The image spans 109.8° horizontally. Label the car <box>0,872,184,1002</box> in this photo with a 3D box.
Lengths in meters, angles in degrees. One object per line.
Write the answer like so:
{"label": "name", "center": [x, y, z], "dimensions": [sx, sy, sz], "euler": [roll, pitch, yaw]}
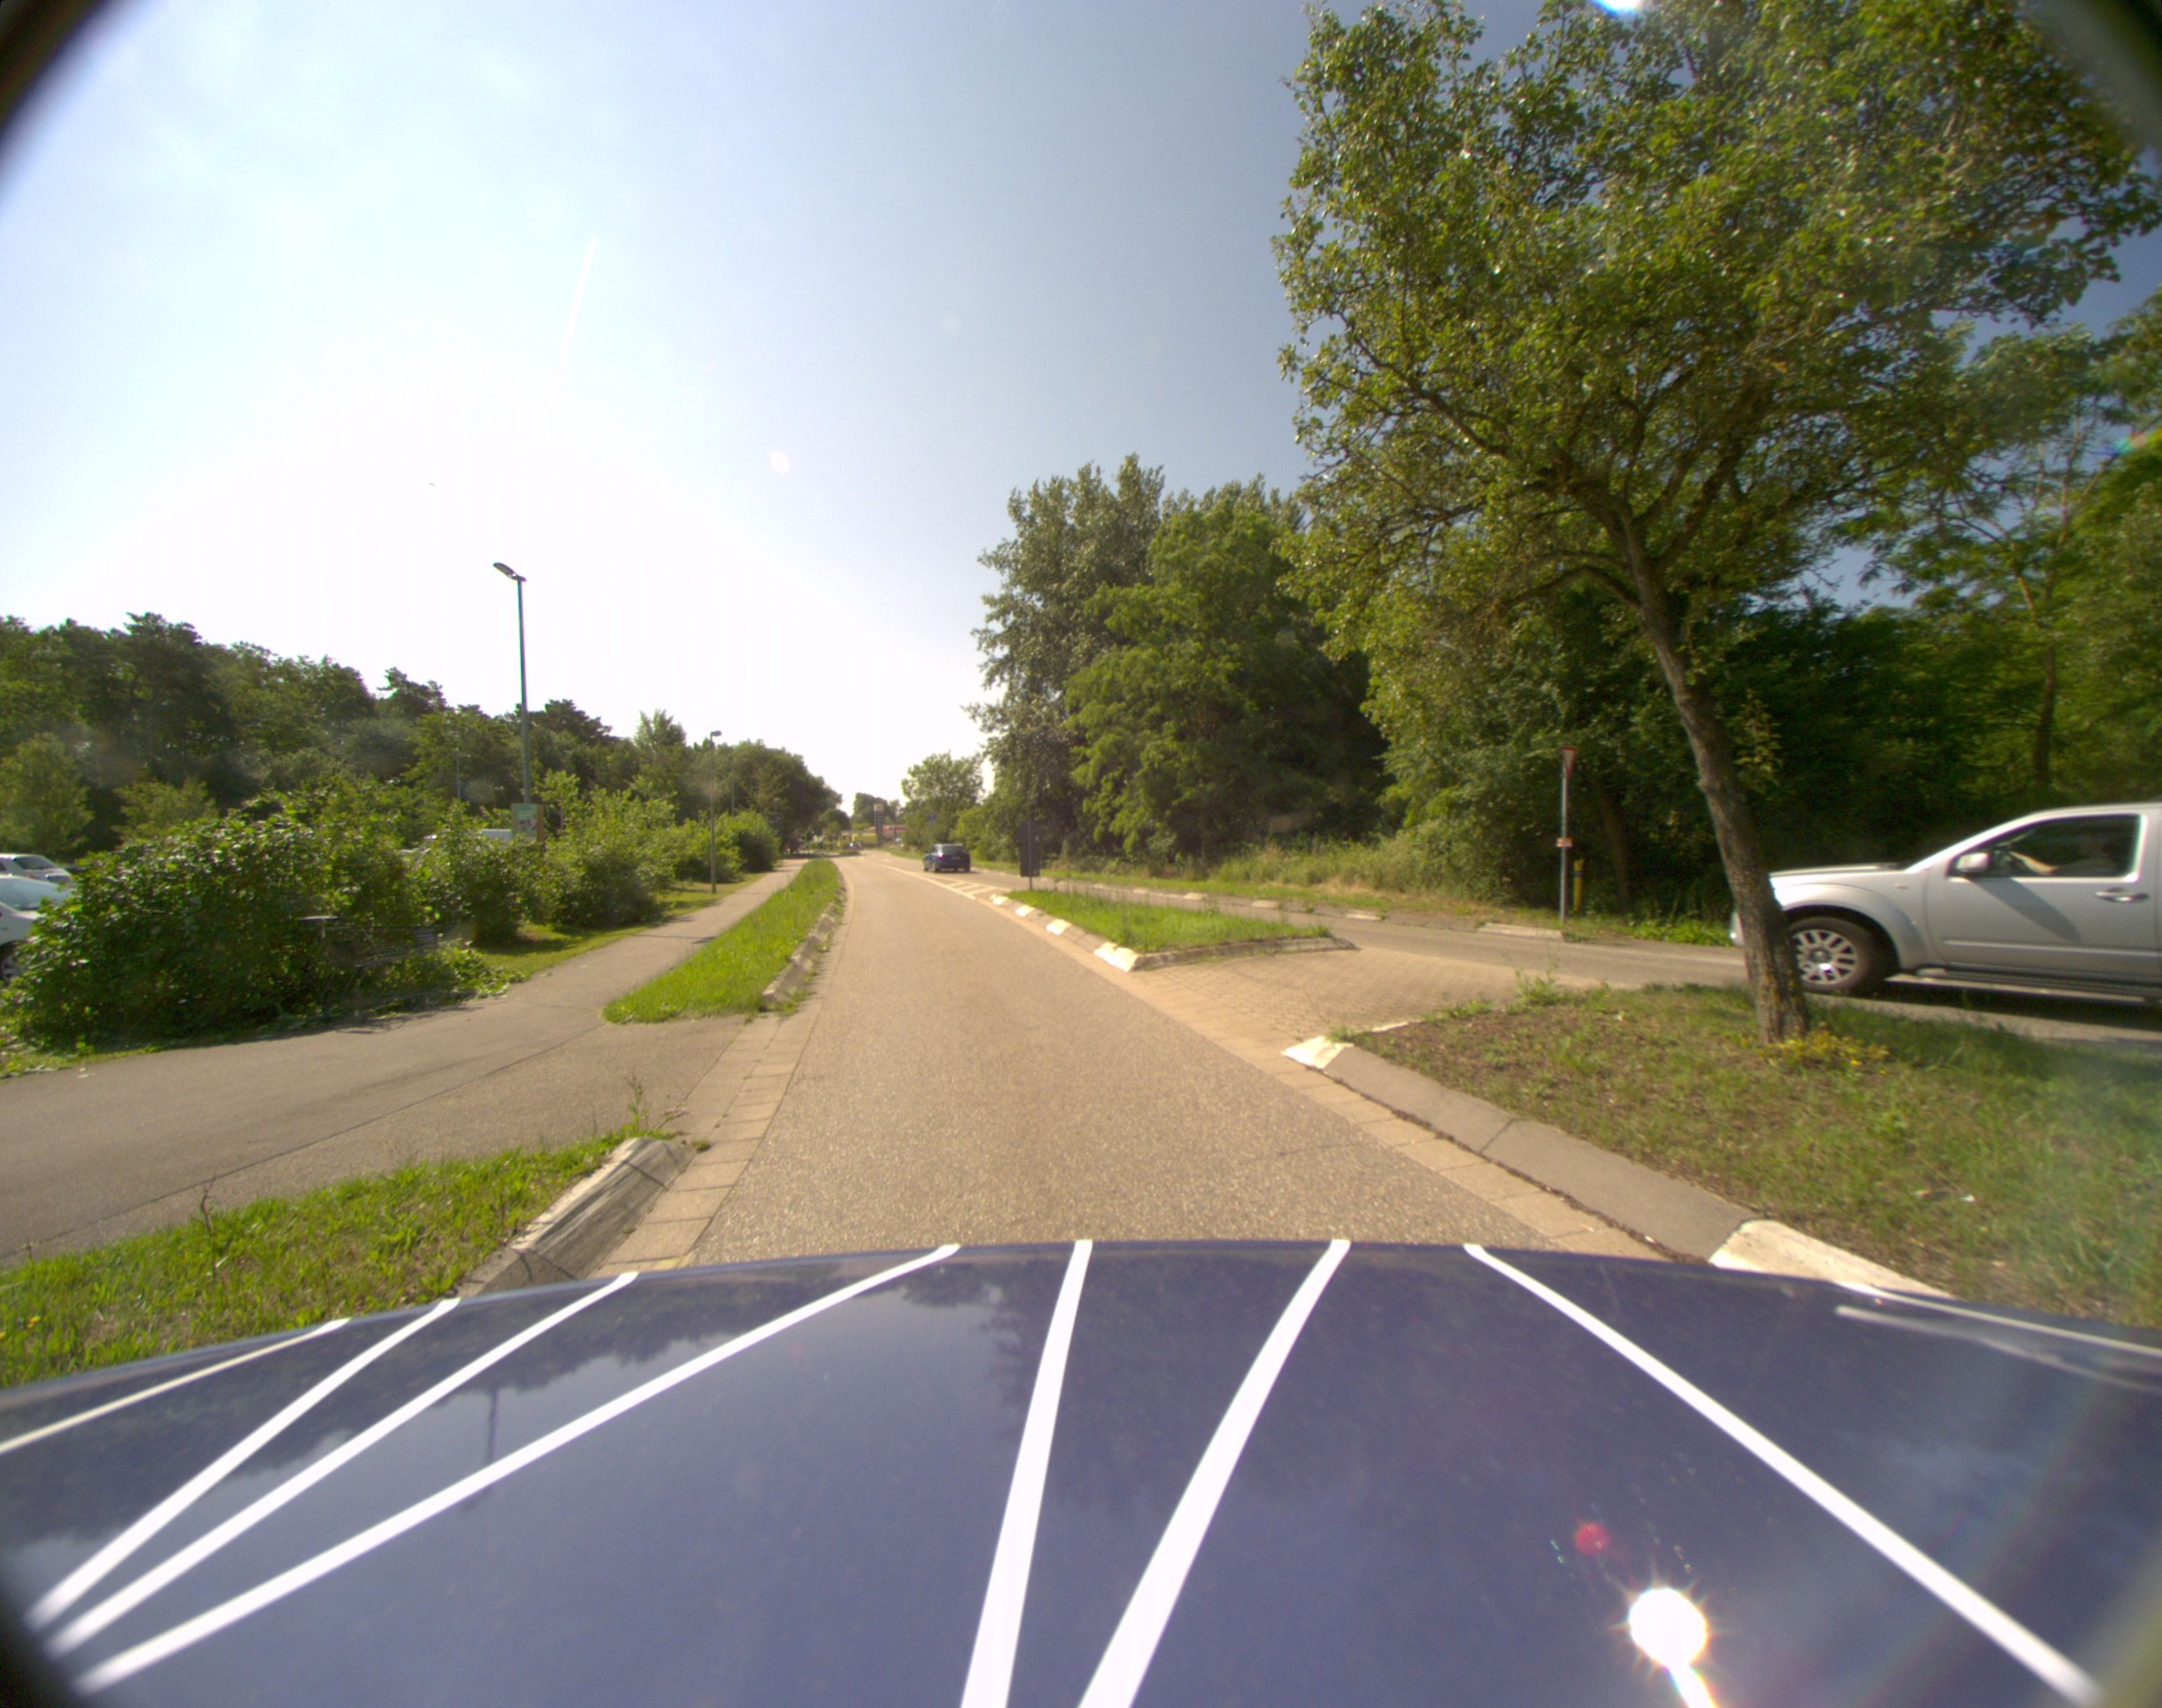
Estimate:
{"label": "car", "center": [-14.963, 1.069, 10.024], "dimensions": [3.608, 1.553, 1.811], "euler": [0, 1, -16]}

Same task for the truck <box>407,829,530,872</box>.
{"label": "truck", "center": [-38.904, -0.274, 48.472], "dimensions": [5.622, 2.590, 2.199], "euler": [-1, 2, -20]}

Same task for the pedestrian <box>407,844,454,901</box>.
{"label": "pedestrian", "center": [-20.809, 0.568, 24.320], "dimensions": [0.822, 1.787, 0.865], "euler": [-1, 2, -17]}

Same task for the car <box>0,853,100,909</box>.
{"label": "car", "center": [-29.834, 0.731, 20.372], "dimensions": [4.004, 1.434, 1.647], "euler": [-1, 2, -20]}

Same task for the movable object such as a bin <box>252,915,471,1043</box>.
{"label": "movable object such as a bin", "center": [-7.748, 1.306, 8.280], "dimensions": [0.869, 1.114, 1.456], "euler": [-1, 2, 9]}

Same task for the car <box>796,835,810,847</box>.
{"label": "car", "center": [-57.590, -2.772, 157.149], "dimensions": [1.921, 2.387, 4.898], "euler": [-2, 2, -29]}

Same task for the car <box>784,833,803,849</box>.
{"label": "car", "center": [-52.902, -2.389, 139.703], "dimensions": [2.681, 2.795, 5.140], "euler": [-2, 1, -27]}

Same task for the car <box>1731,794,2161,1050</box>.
{"label": "car", "center": [8.355, 0.494, 5.998], "dimensions": [1.904, 1.805, 4.583], "euler": [1, 0, -38]}

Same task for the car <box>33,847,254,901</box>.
{"label": "car", "center": [-31.255, 0.614, 25.541], "dimensions": [4.170, 1.565, 1.996], "euler": [-2, 2, -21]}

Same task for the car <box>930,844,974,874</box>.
{"label": "car", "center": [-6.571, 0.219, 38.437], "dimensions": [1.839, 1.379, 4.418], "euler": [-1, 1, -14]}

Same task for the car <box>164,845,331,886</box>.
{"label": "car", "center": [-32.535, 0.409, 29.827], "dimensions": [4.005, 1.419, 1.745], "euler": [-1, 2, -26]}

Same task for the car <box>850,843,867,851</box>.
{"label": "car", "center": [-38.106, -1.210, 130.089], "dimensions": [1.706, 1.381, 4.283], "euler": [-2, 2, -29]}

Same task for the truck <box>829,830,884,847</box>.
{"label": "truck", "center": [-45.682, -3.107, 154.805], "dimensions": [10.350, 3.375, 3.877], "euler": [-1, 2, -21]}

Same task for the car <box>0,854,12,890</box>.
{"label": "car", "center": [-49.583, 0.836, 32.529], "dimensions": [4.008, 1.576, 1.965], "euler": [-2, 2, -41]}
